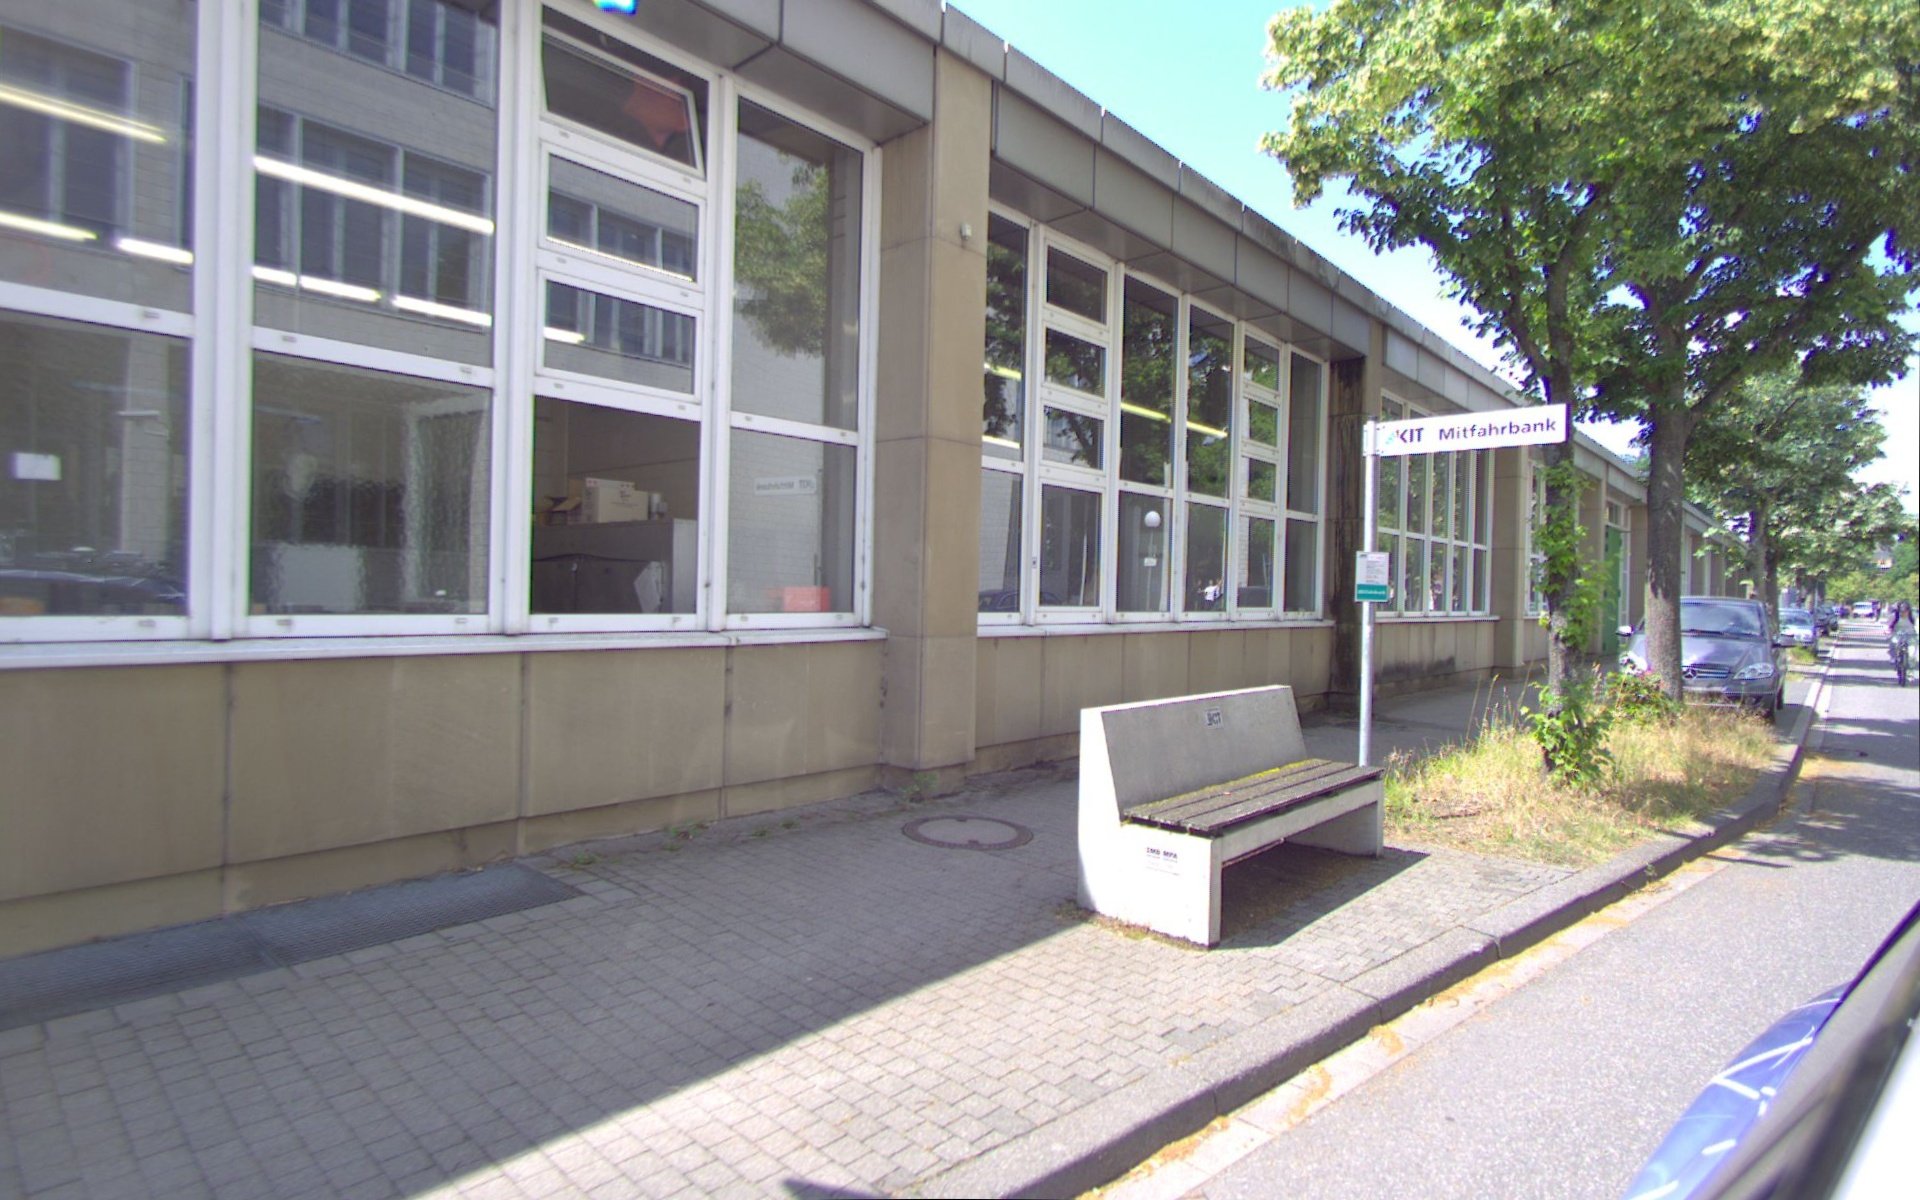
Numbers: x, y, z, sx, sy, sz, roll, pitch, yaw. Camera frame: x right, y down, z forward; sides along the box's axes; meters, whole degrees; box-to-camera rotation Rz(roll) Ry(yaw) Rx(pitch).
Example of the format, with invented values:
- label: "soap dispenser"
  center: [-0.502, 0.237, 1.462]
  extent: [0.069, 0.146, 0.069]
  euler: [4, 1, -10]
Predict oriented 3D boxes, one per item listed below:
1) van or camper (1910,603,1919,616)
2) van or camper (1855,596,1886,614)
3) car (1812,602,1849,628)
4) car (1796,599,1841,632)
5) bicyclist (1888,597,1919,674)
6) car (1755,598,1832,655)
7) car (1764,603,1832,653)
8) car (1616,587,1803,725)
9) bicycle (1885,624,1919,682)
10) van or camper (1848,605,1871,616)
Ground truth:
- label: "van or camper"
  center: [162.802, 1.550, 171.627]
  extent: [4.225, 2.132, 1.854]
  euler: [0, 0, -38]
- label: "van or camper"
  center: [125.902, 0.730, 139.911]
  extent: [4.295, 2.391, 2.002]
  euler: [1, 1, -31]
- label: "car"
  center: [54.502, 0.914, 63.360]
  extent: [1.644, 1.511, 3.759]
  euler: [4, 2, 41]
- label: "car"
  center: [43.856, 0.772, 51.691]
  extent: [1.644, 1.511, 3.759]
  euler: [4, 2, 41]
- label: "bicyclist"
  center: [19.145, 0.717, 20.246]
  extent: [0.778, 1.505, 0.685]
  euler: [2, 1, 41]
- label: "car"
  center: [25.233, 0.760, 30.611]
  extent: [1.617, 1.530, 3.760]
  euler: [5, 3, 41]
- label: "car"
  center: [28.676, 0.921, 34.603]
  extent: [1.617, 1.481, 3.760]
  euler: [5, 3, 41]
- label: "car"
  center: [10.525, 0.675, 14.115]
  extent: [1.755, 1.588, 3.760]
  euler: [3, 2, 41]
- label: "bicycle"
  center: [19.111, 1.049, 20.235]
  extent: [0.778, 1.061, 1.885]
  euler: [2, 1, 40]
- label: "van or camper"
  center: [163.108, 1.861, 183.479]
  extent: [4.177, 1.999, 2.096]
  euler: [0, 0, -34]
